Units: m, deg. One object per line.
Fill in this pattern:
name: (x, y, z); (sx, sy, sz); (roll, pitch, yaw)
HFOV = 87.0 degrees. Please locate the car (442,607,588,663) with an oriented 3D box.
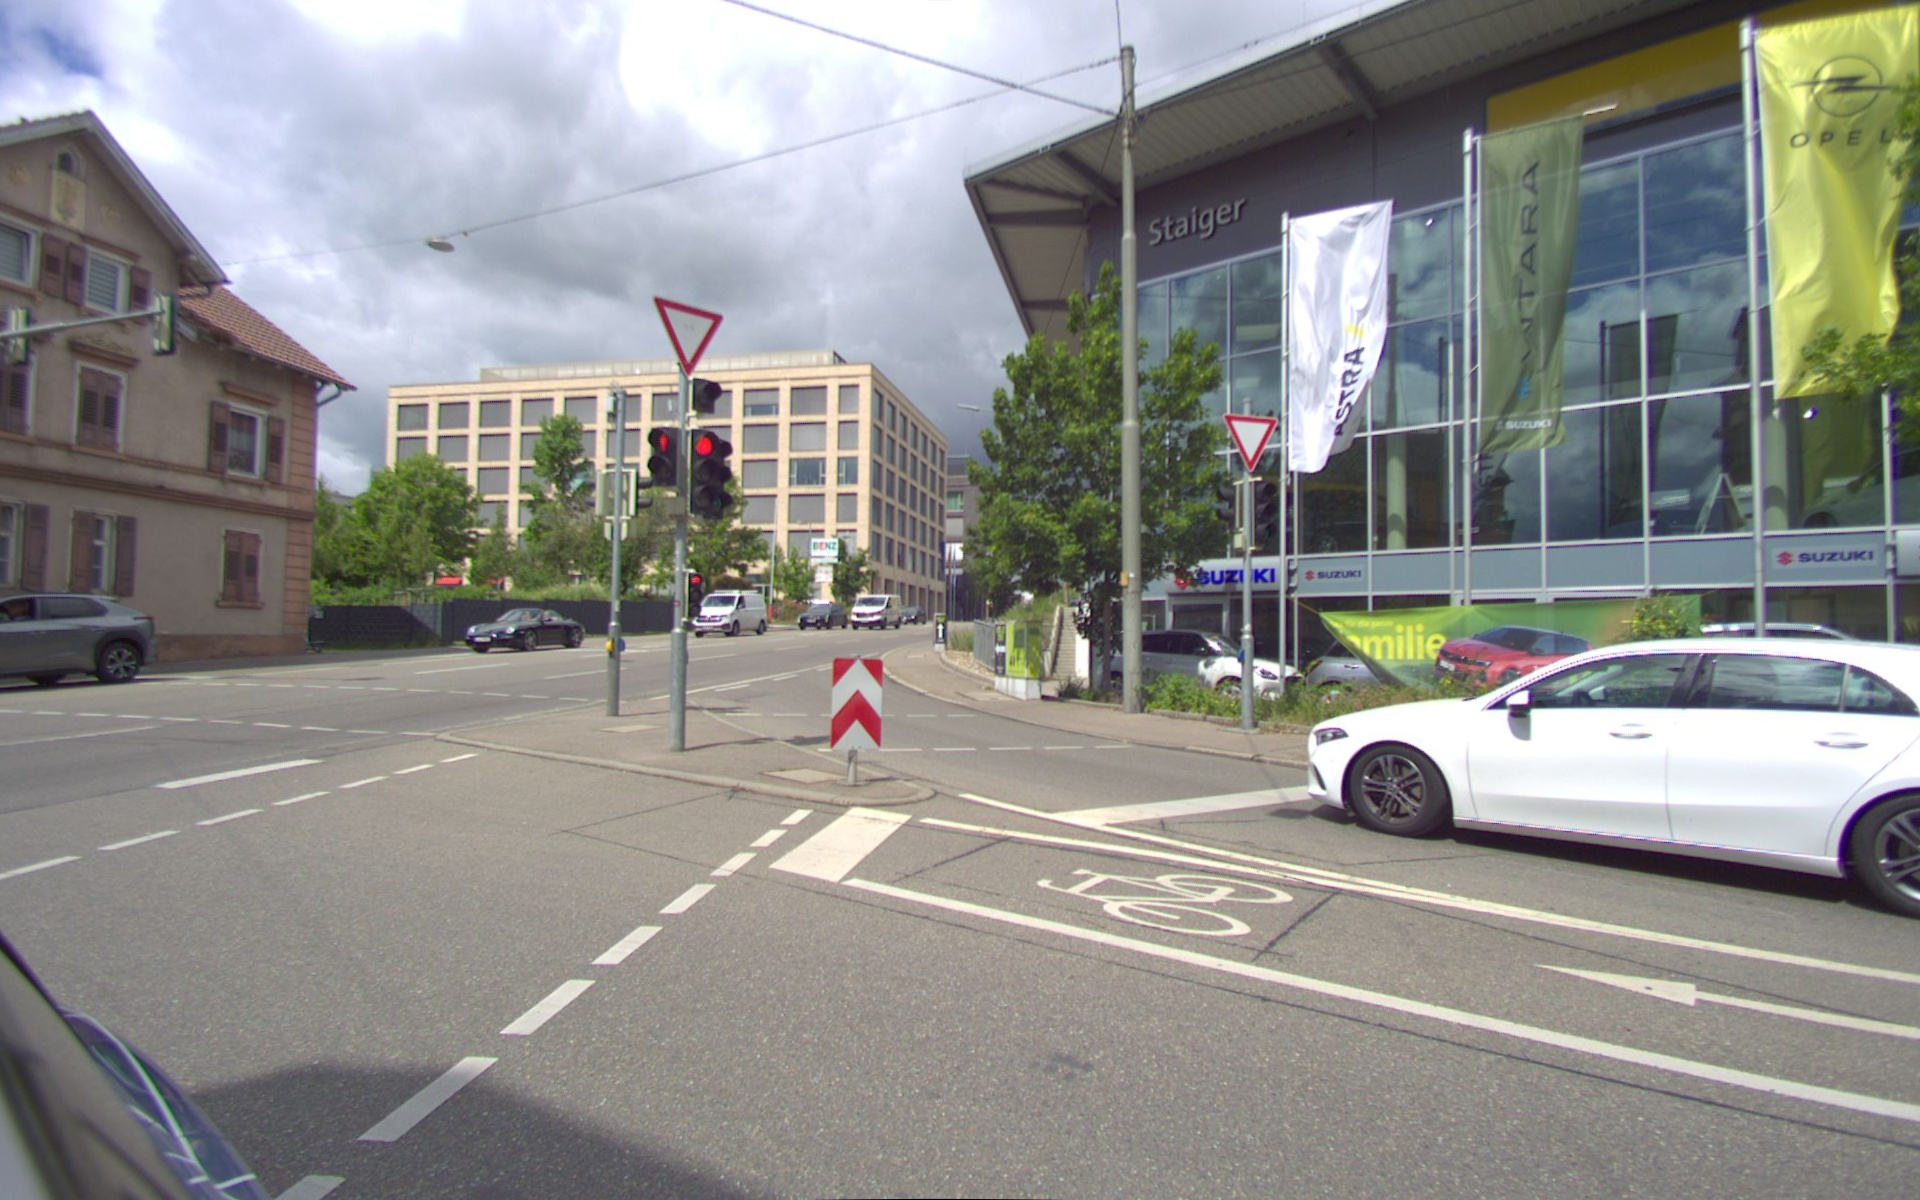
car: (-13.229, 1.001, 30.427); (1.978, 1.477, 4.318); (-1, 1, 10)

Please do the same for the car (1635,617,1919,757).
car: (11.089, 1.016, 12.820); (3.995, 1.574, 1.922); (-1, -1, 42)

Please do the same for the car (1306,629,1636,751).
car: (7.898, 1.281, 15.836); (4.302, 1.574, 1.923); (-1, -1, 39)

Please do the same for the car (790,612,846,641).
car: (-8.120, 1.519, 58.182); (1.978, 1.477, 4.318); (-1, 1, 10)

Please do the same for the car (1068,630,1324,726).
car: (4.291, 1.347, 18.860); (1.920, 1.485, 4.308); (0, -1, -45)

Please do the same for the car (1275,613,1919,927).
car: (4.450, 0.880, 6.345); (1.698, 1.508, 4.468); (5, -4, -43)

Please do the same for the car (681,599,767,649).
car: (-10.485, 1.011, 45.368); (1.978, 2.027, 4.800); (-1, 1, 11)

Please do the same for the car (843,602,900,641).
car: (-4.909, 1.160, 56.942); (1.978, 2.008, 4.975); (-1, 0, 10)

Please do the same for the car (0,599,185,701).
car: (-15.867, 0.800, 16.589); (1.978, 1.590, 5.082); (-1, -1, 10)
